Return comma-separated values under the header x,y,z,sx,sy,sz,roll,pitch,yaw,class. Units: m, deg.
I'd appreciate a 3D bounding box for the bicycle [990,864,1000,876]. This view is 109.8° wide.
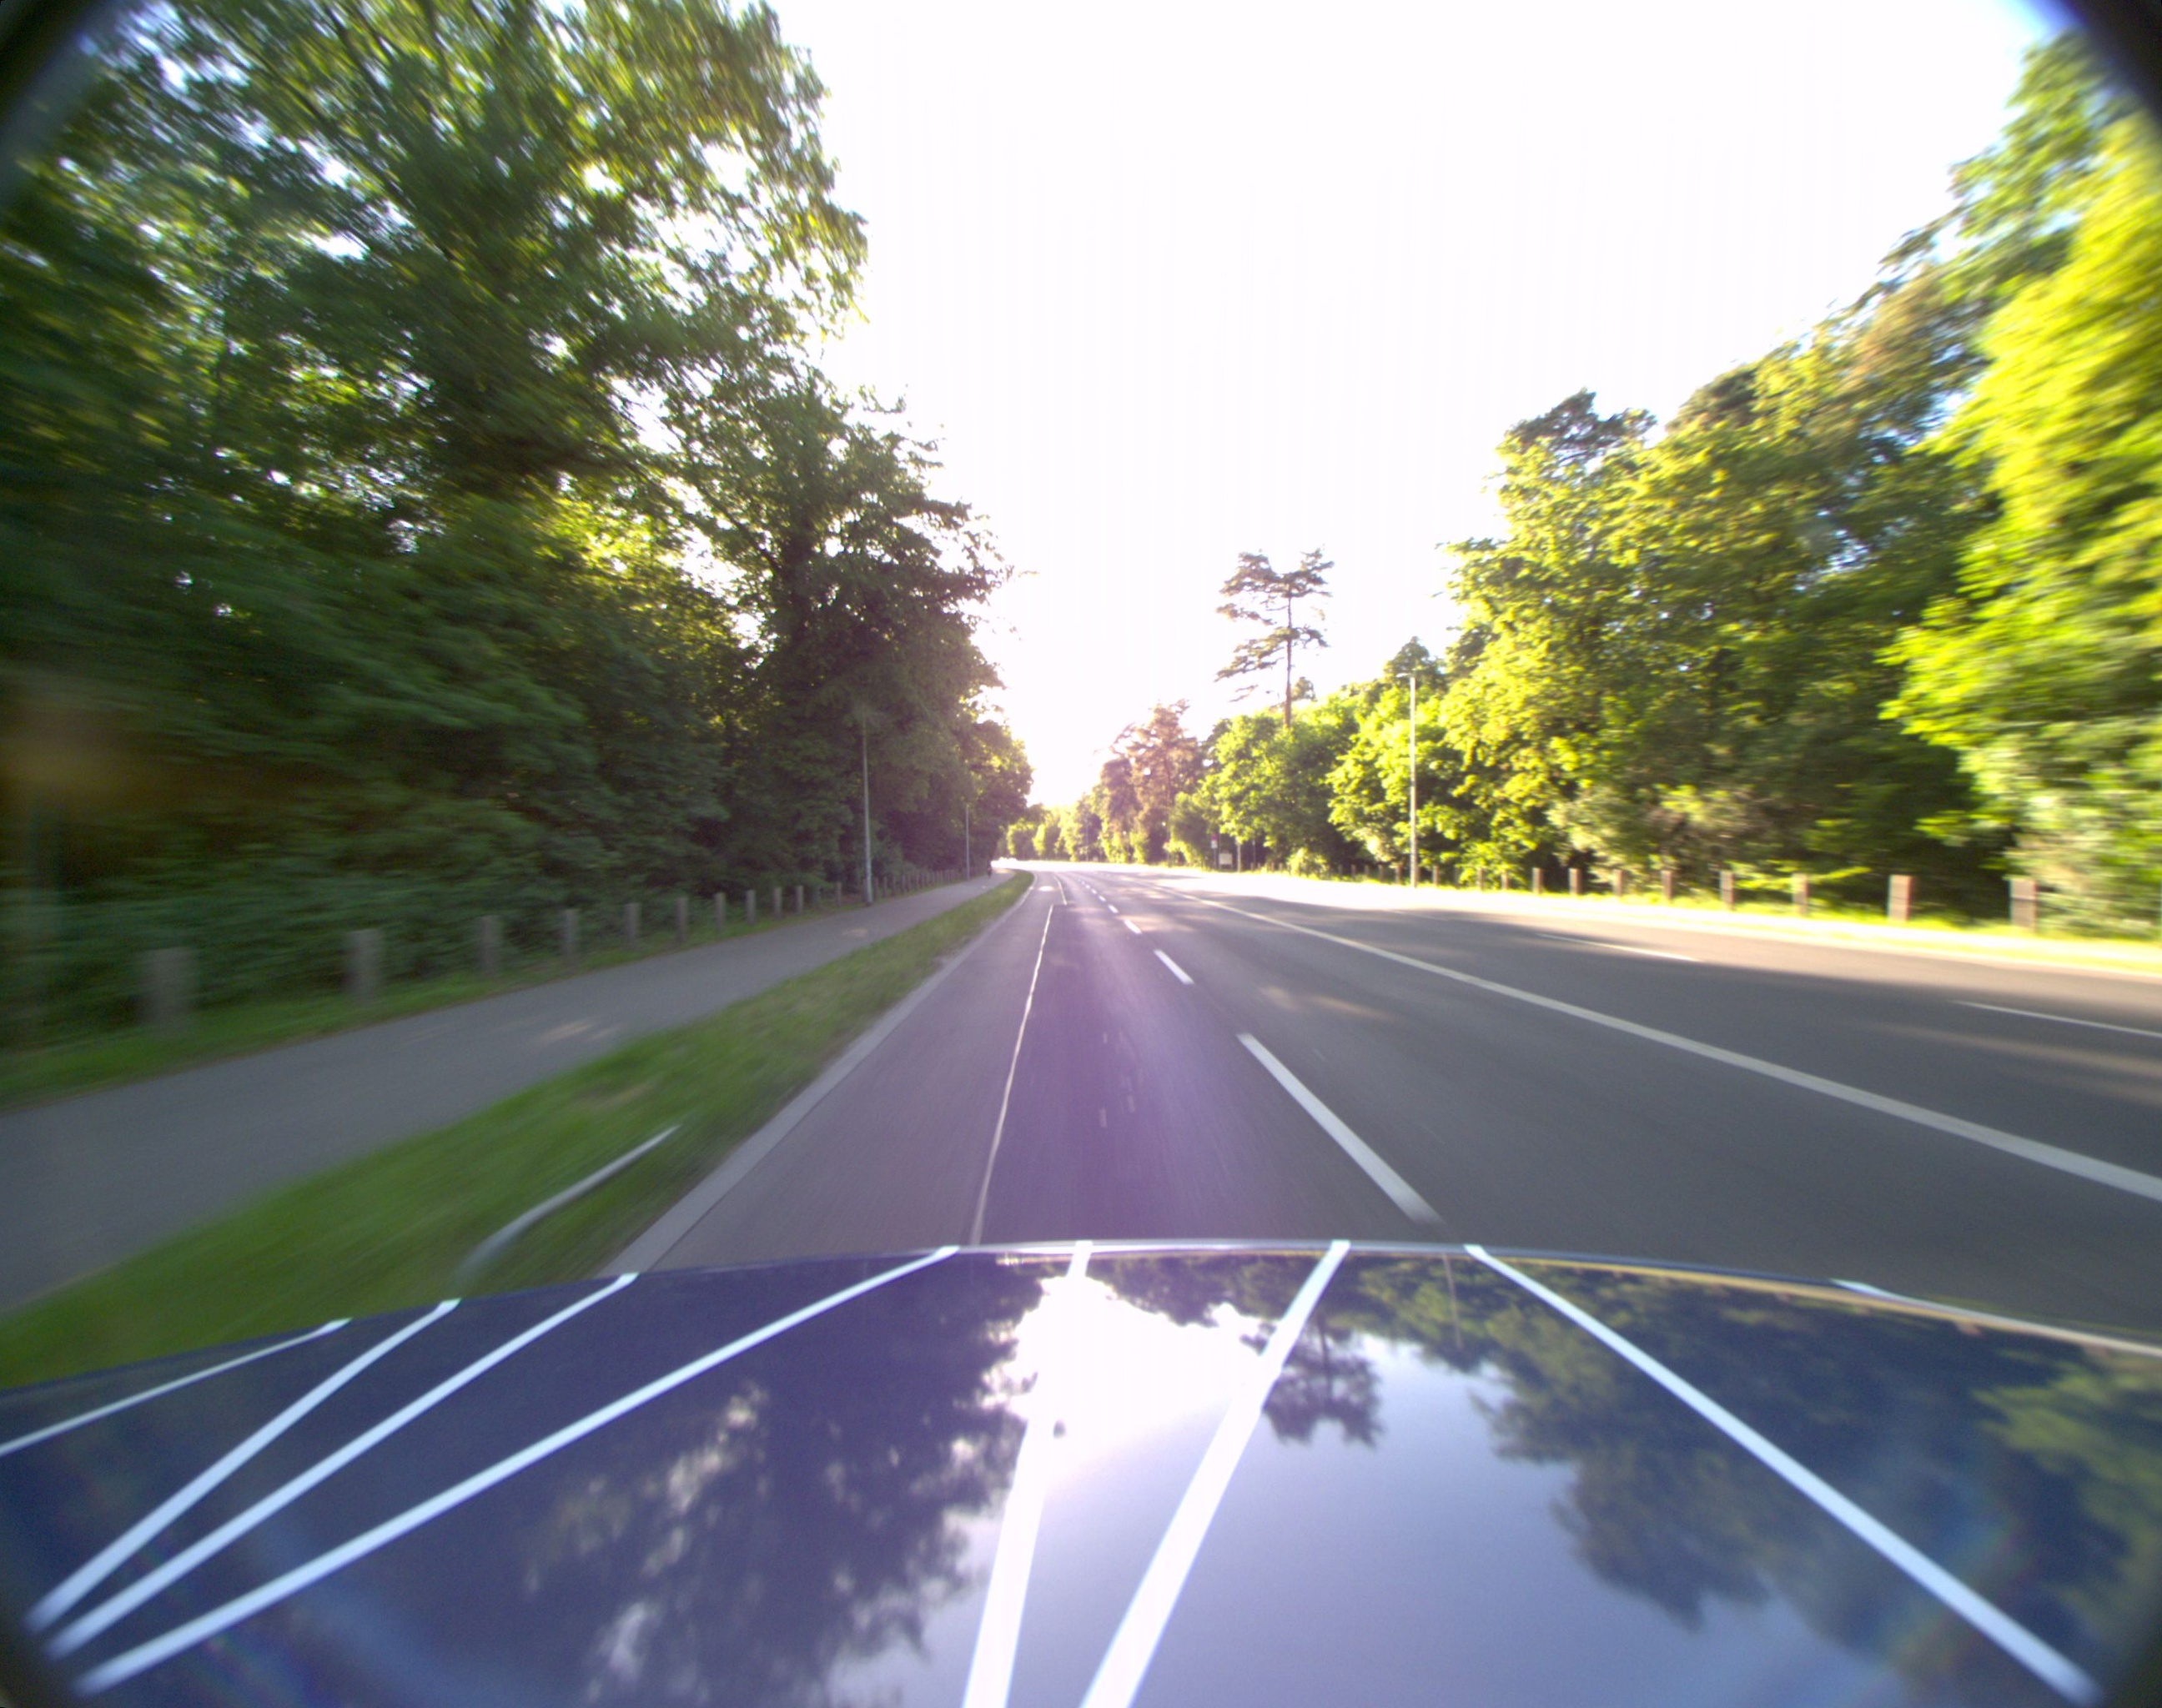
x,y,z,sx,sy,sz,roll,pitch,yaw,class
-7.453,1.364,65.748,0.608,1.051,2.874,-1,0,-3,bicycle

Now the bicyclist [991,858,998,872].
x,y,z,sx,sy,sz,roll,pitch,yaw,class
-7.469,0.946,65.478,0.514,1.259,0.497,-1,0,-3,bicyclist

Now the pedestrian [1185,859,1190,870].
x,y,z,sx,sy,sz,roll,pitch,yaw,class
12.627,1.261,90.209,0.472,1.307,0.512,-1,0,-3,pedestrian
